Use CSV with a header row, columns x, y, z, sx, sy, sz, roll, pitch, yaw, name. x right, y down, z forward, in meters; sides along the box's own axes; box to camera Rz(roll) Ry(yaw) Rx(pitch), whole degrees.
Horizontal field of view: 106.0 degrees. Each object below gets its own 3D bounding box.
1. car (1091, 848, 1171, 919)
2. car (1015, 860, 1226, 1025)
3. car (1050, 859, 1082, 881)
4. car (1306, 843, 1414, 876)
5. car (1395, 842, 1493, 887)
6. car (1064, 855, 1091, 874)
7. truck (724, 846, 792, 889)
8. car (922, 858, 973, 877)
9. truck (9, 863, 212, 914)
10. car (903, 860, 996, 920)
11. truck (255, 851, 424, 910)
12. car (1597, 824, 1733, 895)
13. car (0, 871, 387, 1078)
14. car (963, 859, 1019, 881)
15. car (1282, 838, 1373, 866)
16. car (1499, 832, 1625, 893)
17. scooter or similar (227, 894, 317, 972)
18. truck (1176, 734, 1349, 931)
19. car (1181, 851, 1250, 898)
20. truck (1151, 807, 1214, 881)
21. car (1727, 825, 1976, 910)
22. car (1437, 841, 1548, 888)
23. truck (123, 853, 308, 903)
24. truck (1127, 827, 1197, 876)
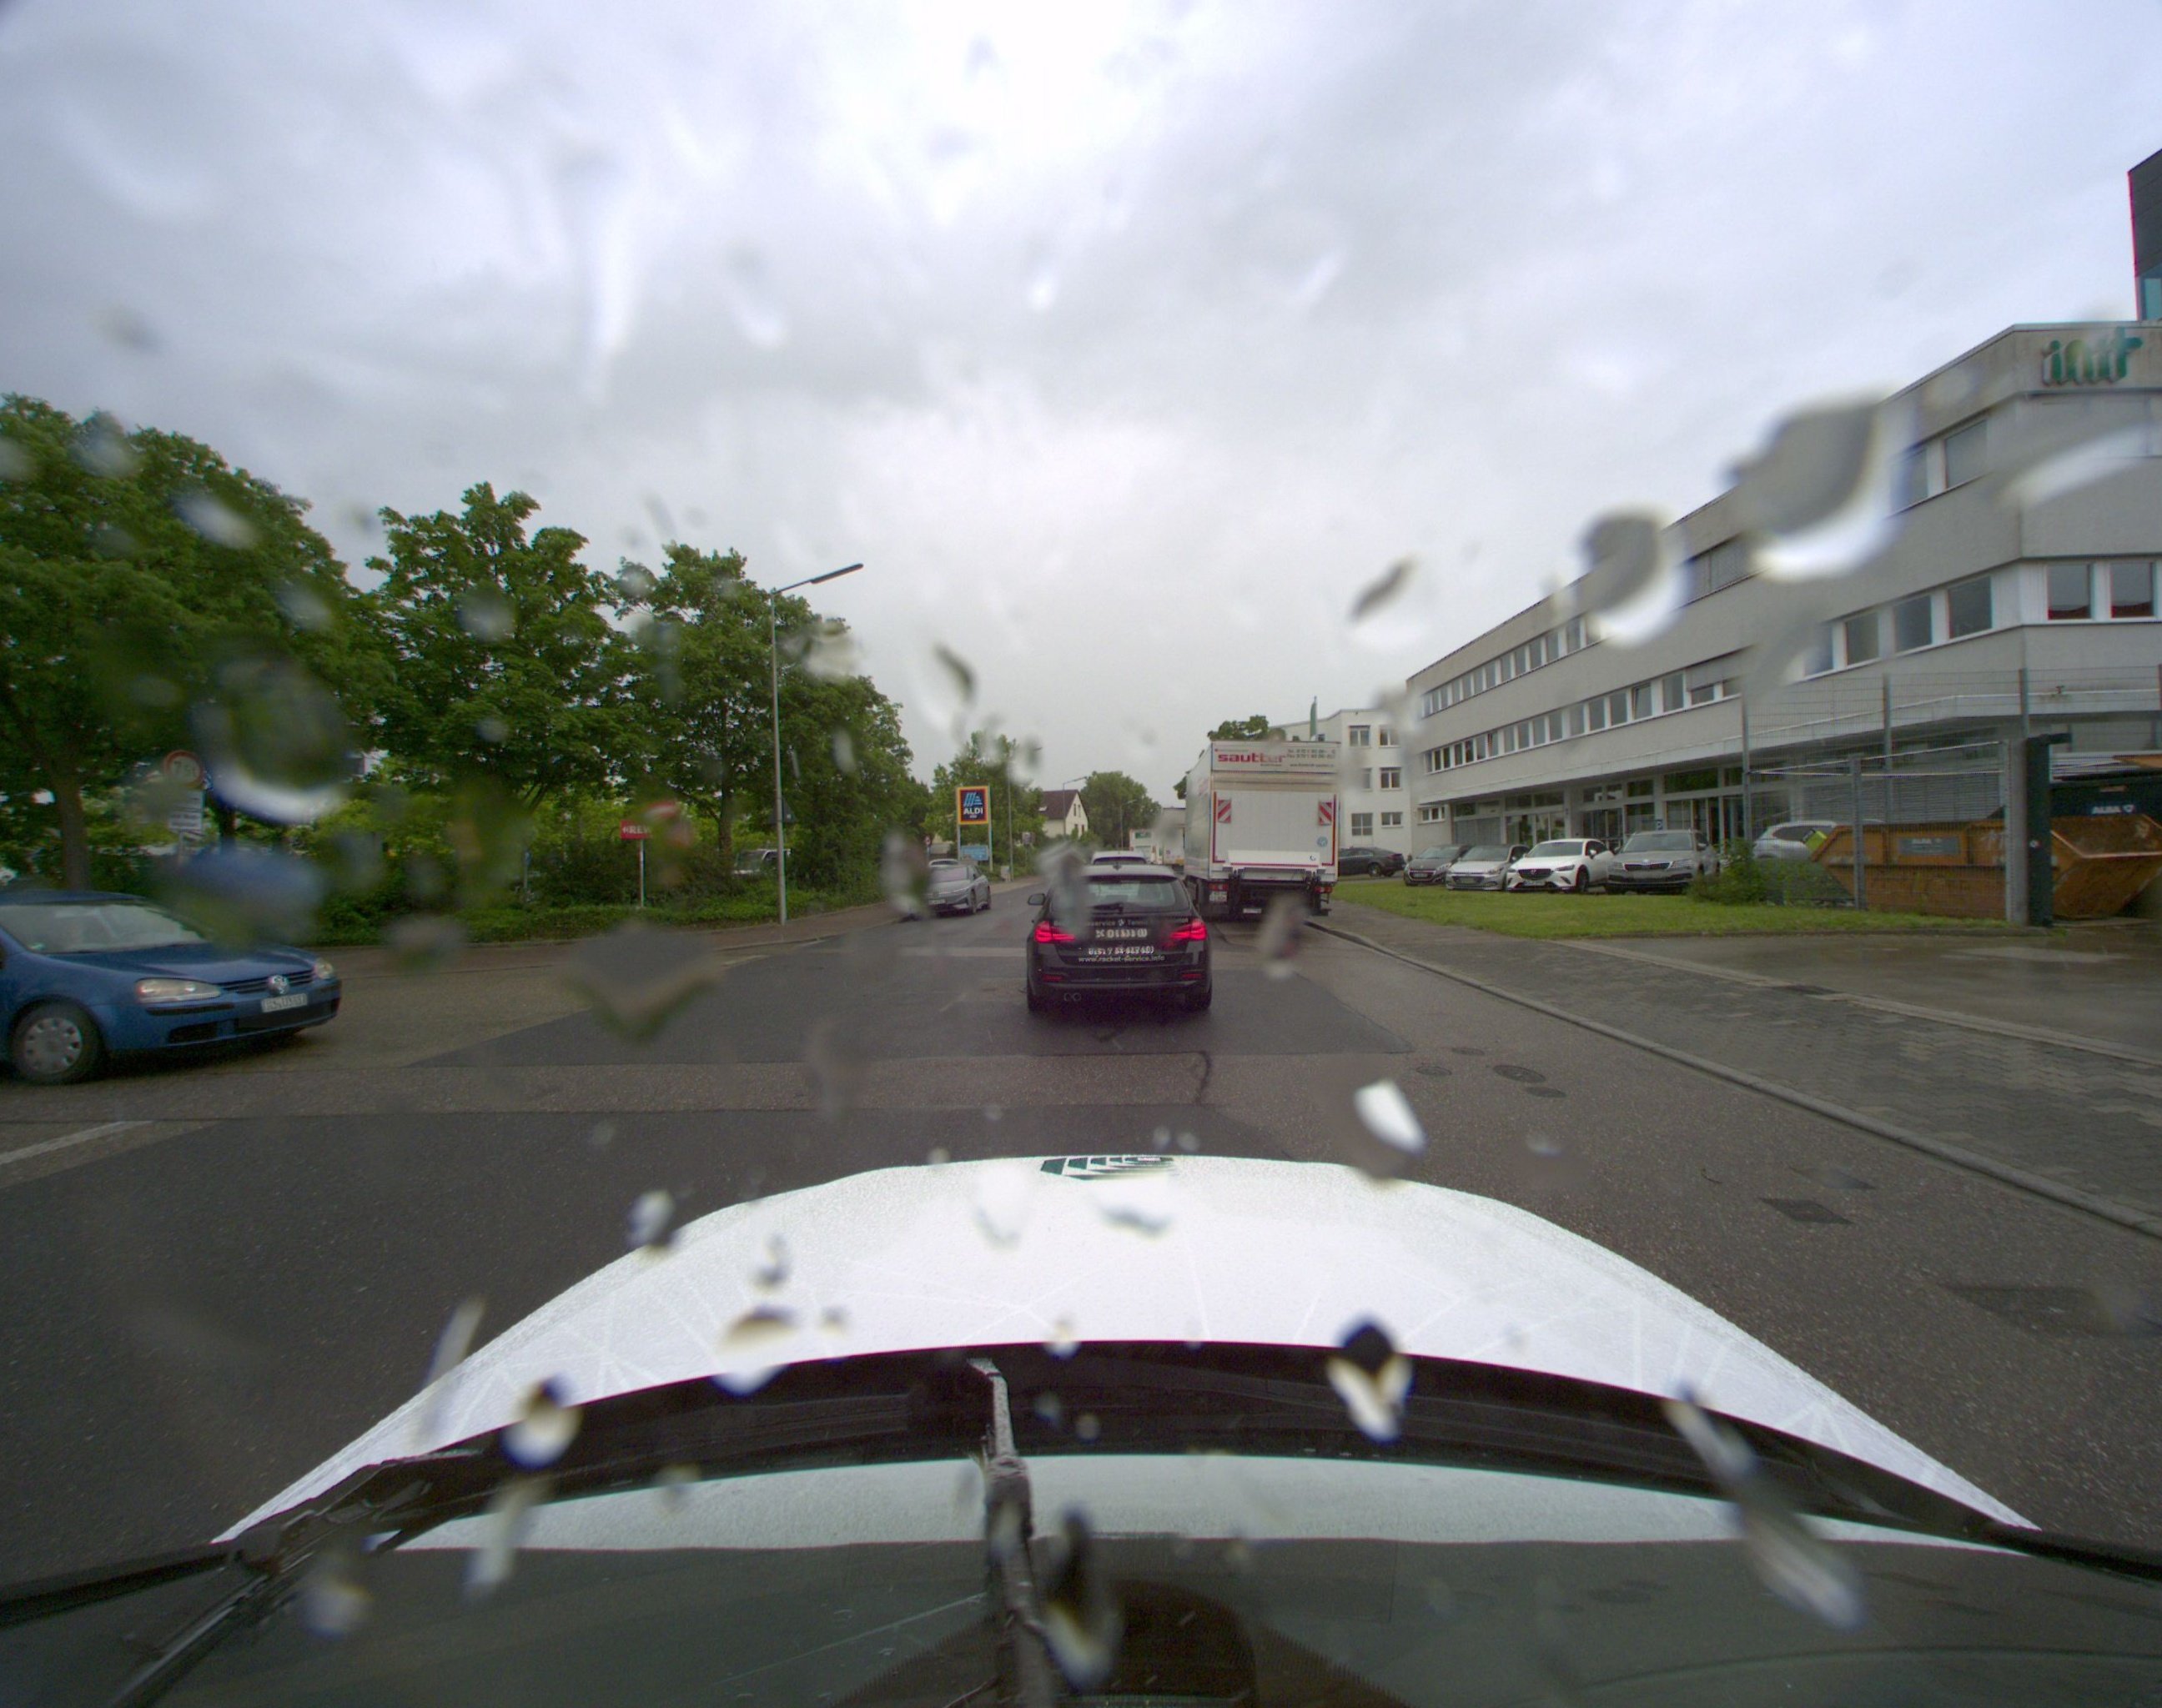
x,y,z,sx,sy,sz,roll,pitch,yaw,name
1.173,0.681,20.529,1.798,1.586,4.000,-1,-1,1,car
0.378,0.779,9.044,1.798,1.395,4.000,-1,-1,1,car
-1.045,1.086,58.277,1.698,1.367,4.607,-4,0,5,car
13.543,0.277,39.689,4.616,1.468,1.802,-2,0,40,car
12.585,0.333,28.159,3.789,1.393,1.686,-2,0,-42,car
-0.248,0.795,64.623,1.697,1.367,3.845,-4,0,6,car
-22.435,0.913,56.907,1.986,2.753,6.470,-2,0,2,truck
-11.524,1.163,70.376,3.970,1.540,1.912,-2,0,3,car
-44.706,1.523,37.823,1.987,2.060,6.134,-2,0,1,truck
-3.959,1.023,25.311,1.802,1.528,4.750,-6,-1,2,car
-35.965,1.176,39.847,1.984,2.601,6.404,-2,0,4,truck
14.066,0.096,19.535,4.022,1.527,1.850,-2,0,-43,car
-8.704,0.982,6.988,3.972,1.441,1.737,-3,0,2,car
-6.216,1.075,56.335,3.553,1.460,1.714,0,0,4,car
19.008,-0.156,63.009,6.436,2.014,1.998,-1,-1,-2,car
12.939,0.193,21.824,4.022,1.470,1.754,-2,0,-42,car
-13.229,1.272,13.343,0.282,1.175,1.063,-2,0,10,scooter or similar
4.074,-0.421,20.499,2.729,3.789,9.306,1,0,3,truck
4.525,0.655,27.949,1.790,1.441,4.347,-2,0,2,car
5.331,-0.496,43.964,2.730,3.611,7.755,1,0,3,truck
17.843,0.289,19.201,1.986,1.706,4.145,-2,0,2,car
12.742,0.297,25.105,4.022,1.286,1.686,-2,0,-42,car
-40.103,1.022,38.074,1.987,2.094,6.135,-2,0,1,truck
5.930,-0.315,58.422,2.320,3.256,7.797,2,2,27,truck
